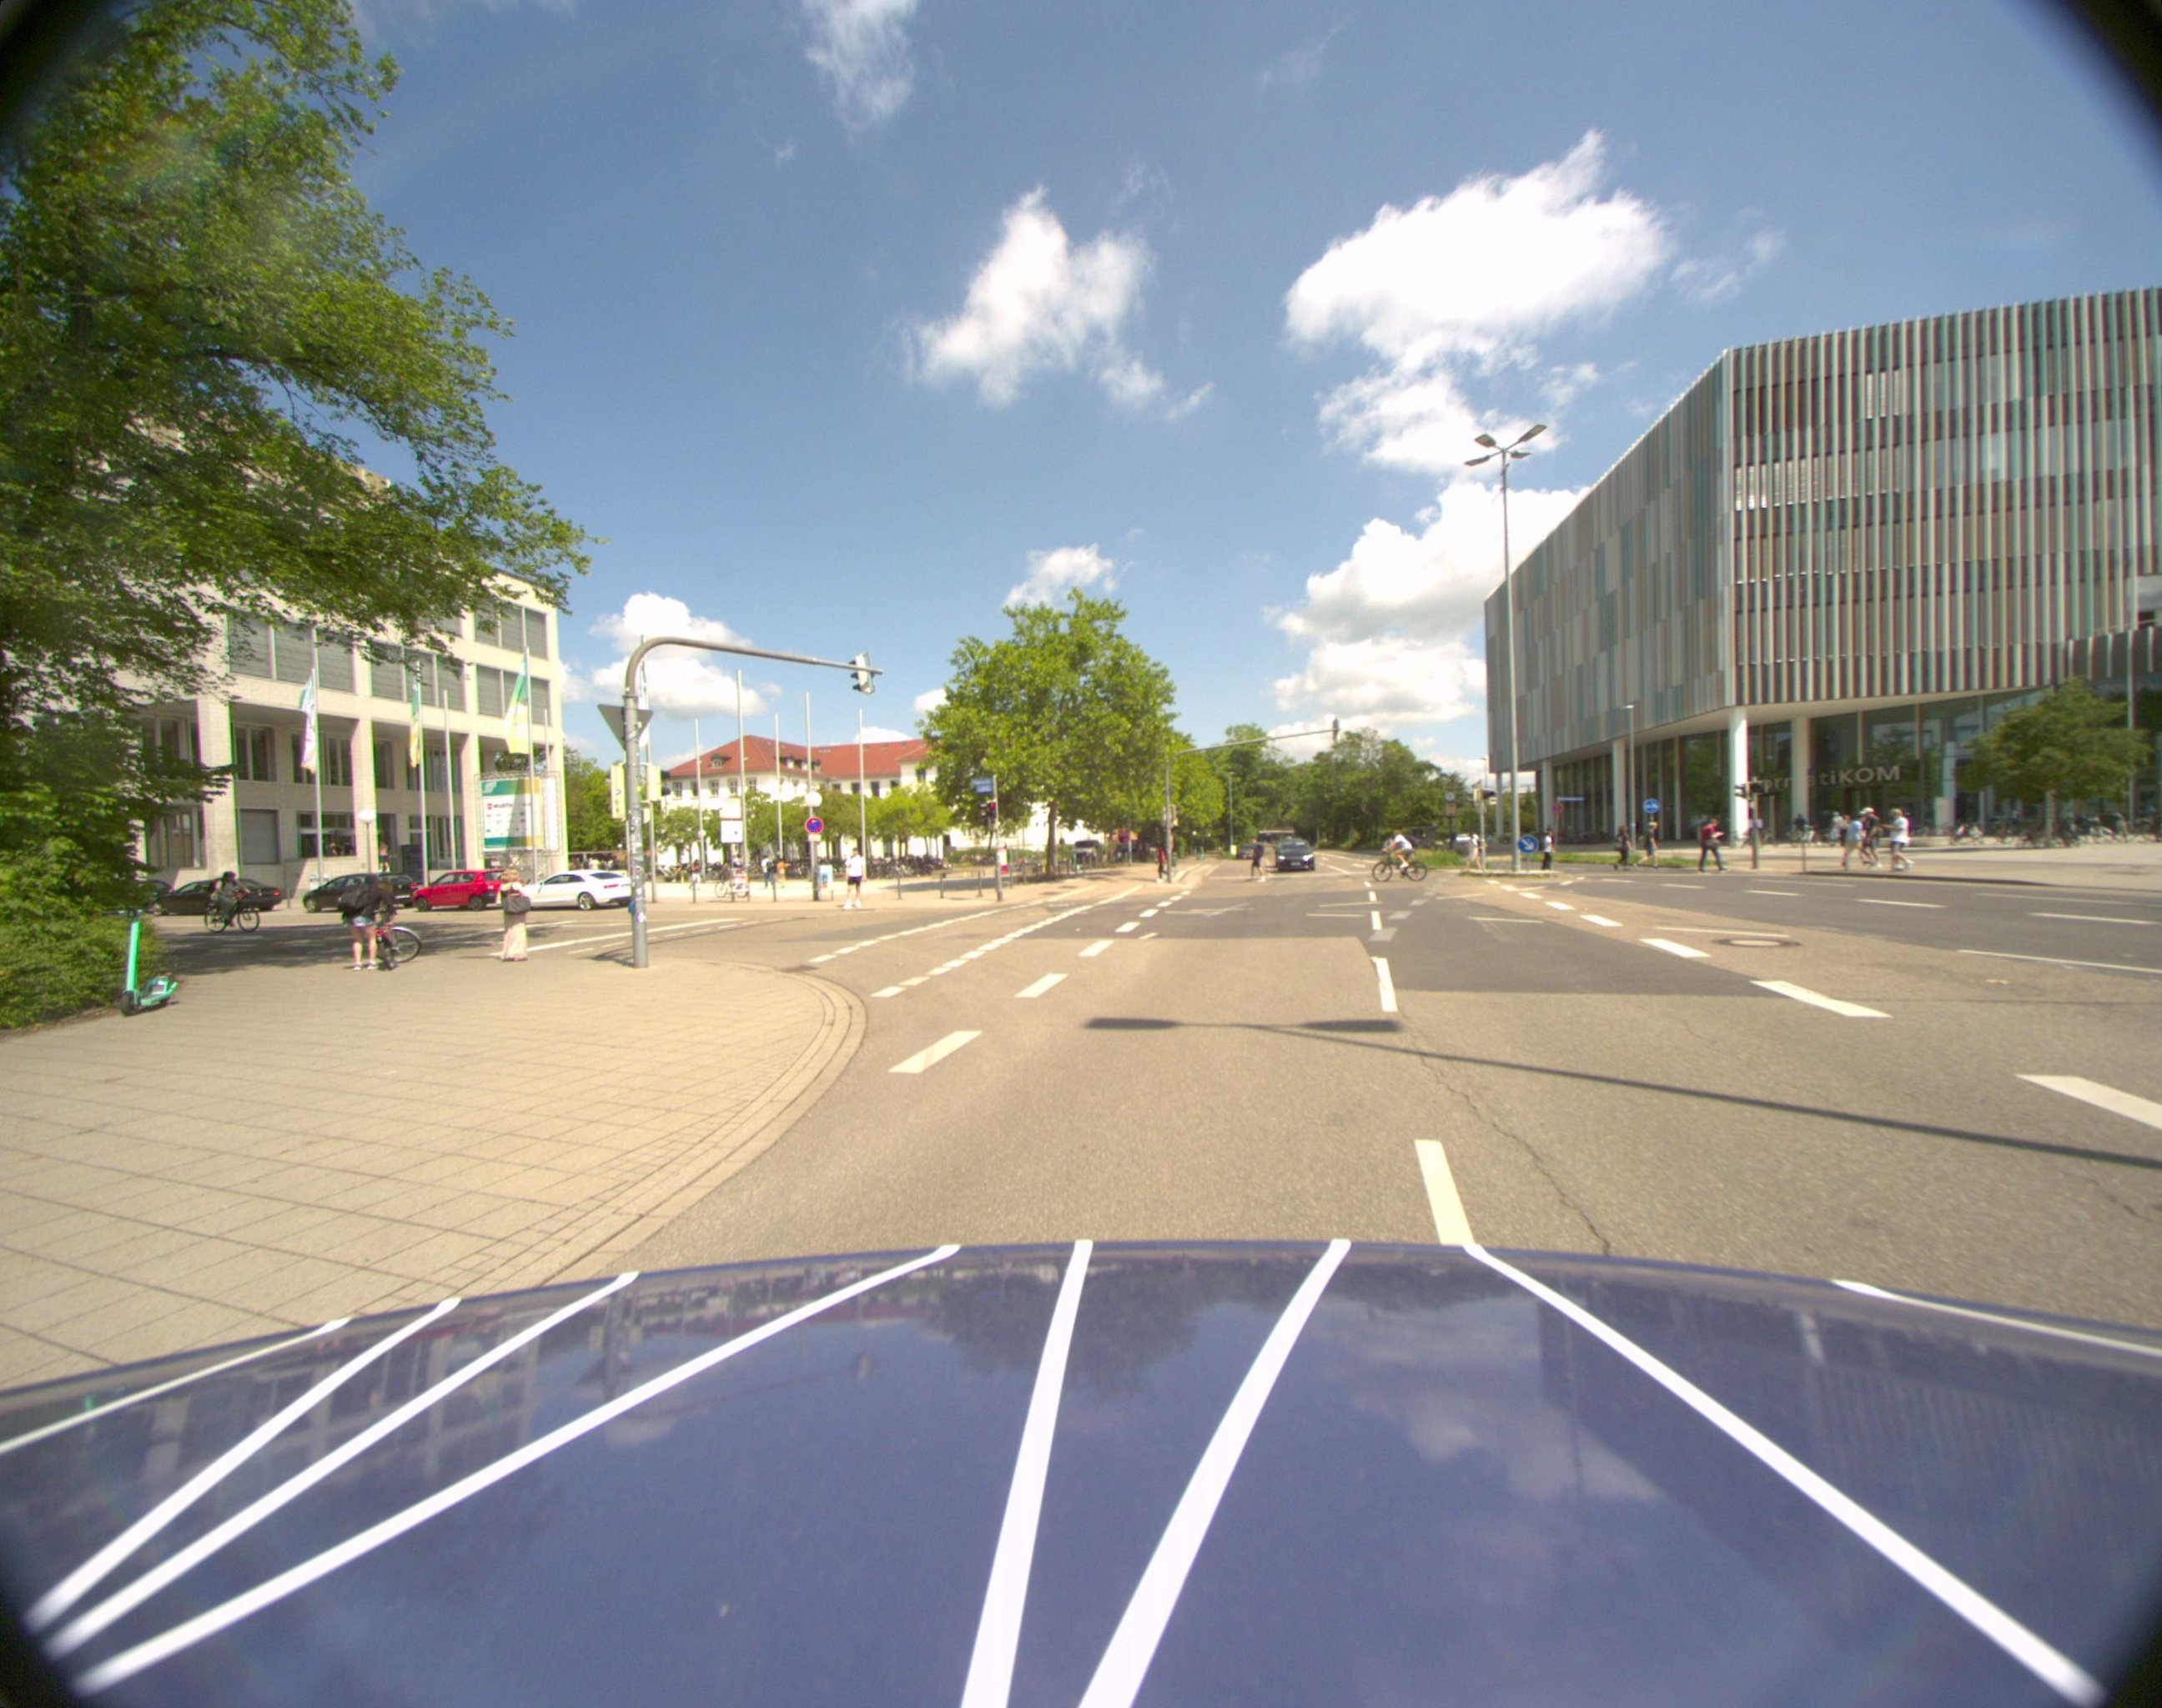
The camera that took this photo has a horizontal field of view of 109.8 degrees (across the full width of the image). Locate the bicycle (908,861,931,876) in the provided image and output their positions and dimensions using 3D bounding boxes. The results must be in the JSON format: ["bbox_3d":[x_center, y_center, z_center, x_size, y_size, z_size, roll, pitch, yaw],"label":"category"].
[{"bbox_3d":[-10.276,0.911,48.247,1.370,0.945,0.352,-2,1,10],"label":"bicycle"}]

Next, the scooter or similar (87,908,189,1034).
[{"bbox_3d":[-10.450,1.252,8.454,0.438,1.226,1.227,0,0,-38],"label":"scooter or similar"}]

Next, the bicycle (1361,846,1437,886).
[{"bbox_3d":[10.501,0.388,25.108,2.160,1.244,0.887,-2,1,31],"label":"bicycle"}]

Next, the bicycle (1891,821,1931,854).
[{"bbox_3d":[41.026,-0.828,37.529,3.421,1.543,1.049,-2,1,-38],"label":"bicycle"}]

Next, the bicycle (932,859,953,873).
[{"bbox_3d":[-9.607,0.816,52.584,1.370,0.945,0.352,-2,1,10],"label":"bicycle"}]

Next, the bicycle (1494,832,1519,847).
[{"bbox_3d":[47.209,-1.608,84.329,2.300,1.486,0.657,-2,1,16],"label":"bicycle"}]

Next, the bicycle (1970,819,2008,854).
[{"bbox_3d":[42.135,-0.819,35.234,3.421,1.543,0.997,-2,1,-38],"label":"bicycle"}]

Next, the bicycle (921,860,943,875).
[{"bbox_3d":[-9.942,0.899,50.810,1.370,0.945,0.352,-2,1,10],"label":"bicycle"}]

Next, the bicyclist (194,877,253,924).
[{"bbox_3d":[-23.564,1.259,20.893,0.833,1.219,0.618,-2,1,-1],"label":"bicyclist"}]

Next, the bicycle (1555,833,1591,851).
[{"bbox_3d":[42.776,-1.065,66.050,2.508,1.486,0.622,-2,1,16],"label":"bicycle"}]

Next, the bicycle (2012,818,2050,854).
[{"bbox_3d":[42.687,-0.812,34.125,3.421,1.543,0.997,-2,1,-38],"label":"bicycle"}]

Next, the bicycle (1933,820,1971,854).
[{"bbox_3d":[41.618,-0.822,36.290,3.421,1.543,0.997,-2,1,-38],"label":"bicycle"}]

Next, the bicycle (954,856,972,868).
[{"bbox_3d":[-9.523,0.632,61.294,1.427,0.945,0.352,-2,1,10],"label":"bicycle"}]

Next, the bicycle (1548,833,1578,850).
[{"bbox_3d":[43.732,-1.161,69.000,2.197,1.486,0.622,-2,1,16],"label":"bicycle"}]

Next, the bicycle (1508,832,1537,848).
[{"bbox_3d":[45.824,-1.443,78.815,2.508,1.486,0.622,-2,1,16],"label":"bicycle"}]

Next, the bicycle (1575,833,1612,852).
[{"bbox_3d":[42.099,-0.964,62.410,2.448,1.486,0.622,-2,1,16],"label":"bicycle"}]

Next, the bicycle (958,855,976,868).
[{"bbox_3d":[-9.289,0.610,61.922,1.427,0.945,0.352,-2,1,10],"label":"bicycle"}]

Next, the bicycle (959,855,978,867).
[{"bbox_3d":[-9.233,0.600,62.334,1.427,0.945,0.352,-2,1,10],"label":"bicycle"}]

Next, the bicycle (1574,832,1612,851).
[{"bbox_3d":[42.638,-1.003,63.305,2.507,1.486,0.731,-2,1,26],"label":"bicycle"}]

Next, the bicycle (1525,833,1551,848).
[{"bbox_3d":[45.173,-1.343,75.179,2.068,1.486,0.622,-2,1,16],"label":"bicycle"}]

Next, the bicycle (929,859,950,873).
[{"bbox_3d":[-9.687,0.830,52.096,1.370,0.945,0.352,-2,1,10],"label":"bicycle"}]

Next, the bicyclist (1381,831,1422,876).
[{"bbox_3d":[10.569,-0.014,25.054,1.074,1.436,0.974,-2,1,31],"label":"bicyclist"}]

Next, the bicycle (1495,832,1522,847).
[{"bbox_3d":[46.779,-1.567,83.112,2.508,1.486,0.622,-2,1,16],"label":"bicycle"}]

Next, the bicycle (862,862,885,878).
[{"bbox_3d":[-13.049,1.010,47.781,1.370,0.995,0.352,-2,1,10],"label":"bicycle"}]

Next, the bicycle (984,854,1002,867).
[{"bbox_3d":[-7.215,0.529,62.229,1.427,0.945,0.352,-2,1,10],"label":"bicycle"}]

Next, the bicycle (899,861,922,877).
[{"bbox_3d":[-10.728,0.959,47.734,1.370,0.945,0.352,-2,1,10],"label":"bicycle"}]

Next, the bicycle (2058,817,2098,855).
[{"bbox_3d":[43.025,-0.798,32.803,3.421,1.543,0.997,-2,1,-38],"label":"bicycle"}]

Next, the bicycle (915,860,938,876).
[{"bbox_3d":[-9.942,0.906,48.889,1.370,0.945,0.352,-2,1,10],"label":"bicycle"}]

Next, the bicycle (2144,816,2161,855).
[{"bbox_3d":[44.069,-0.793,30.810,3.421,1.543,0.997,-2,1,-38],"label":"bicycle"}]

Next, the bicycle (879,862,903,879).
[{"bbox_3d":[-11.572,1.004,46.351,1.370,0.941,0.352,-2,1,10],"label":"bicycle"}]

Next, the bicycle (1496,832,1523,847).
[{"bbox_3d":[46.491,-1.543,82.465,2.508,1.486,0.622,-2,1,16],"label":"bicycle"}]

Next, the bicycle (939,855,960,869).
[{"bbox_3d":[-9.296,0.578,53.673,1.370,0.945,0.352,-2,1,10],"label":"bicycle"}]

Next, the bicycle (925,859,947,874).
[{"bbox_3d":[-9.837,0.864,51.454,1.370,0.945,0.352,-2,1,10],"label":"bicycle"}]

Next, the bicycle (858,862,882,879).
[{"bbox_3d":[-13.152,1.032,47.284,1.370,0.995,0.352,-2,1,10],"label":"bicycle"}]

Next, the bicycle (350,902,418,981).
[{"bbox_3d":[-11.310,1.380,12.370,0.673,1.136,1.659,0,-2,-38],"label":"bicycle"}]

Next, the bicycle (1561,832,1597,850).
[{"bbox_3d":[43.726,-1.114,66.721,2.508,1.486,0.622,-2,1,16],"label":"bicycle"}]

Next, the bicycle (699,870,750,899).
[{"bbox_3d":[-15.042,1.290,32.060,2.049,1.128,0.691,-2,1,21],"label":"bicycle"}]

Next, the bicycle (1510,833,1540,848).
[{"bbox_3d":[45.443,-1.407,77.764,2.508,1.486,0.622,-2,1,16],"label":"bicycle"}]

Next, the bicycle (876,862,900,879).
[{"bbox_3d":[-11.619,0.999,45.775,1.370,0.945,0.352,-2,1,10],"label":"bicycle"}]

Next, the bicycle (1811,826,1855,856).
[{"bbox_3d":[39.524,-0.689,39.931,2.692,1.485,0.931,-3,1,-29],"label":"bicycle"}]

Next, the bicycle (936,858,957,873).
[{"bbox_3d":[-9.363,0.798,53.042,1.370,0.945,0.352,-2,1,10],"label":"bicycle"}]

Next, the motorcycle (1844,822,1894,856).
[{"bbox_3d":[40.202,-0.795,38.756,3.303,1.630,0.969,-2,1,-30],"label":"motorcycle"}]

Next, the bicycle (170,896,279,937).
[{"bbox_3d":[-23.547,1.712,20.907,2.162,0.993,0.647,-2,1,-1],"label":"bicycle"}]

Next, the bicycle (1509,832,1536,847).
[{"bbox_3d":[46.313,-1.481,79.789,2.327,1.486,0.622,-2,1,16],"label":"bicycle"}]

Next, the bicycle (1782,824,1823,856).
[{"bbox_3d":[38.910,-0.769,40.940,3.420,1.634,0.808,-2,1,-33],"label":"bicycle"}]

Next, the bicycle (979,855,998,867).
[{"bbox_3d":[-7.428,0.559,61.156,1.427,0.945,0.352,-2,1,10],"label":"bicycle"}]

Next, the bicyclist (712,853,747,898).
[{"bbox_3d":[-14.771,0.918,31.939,1.085,1.843,0.685,-1,2,20],"label":"bicyclist"}]
